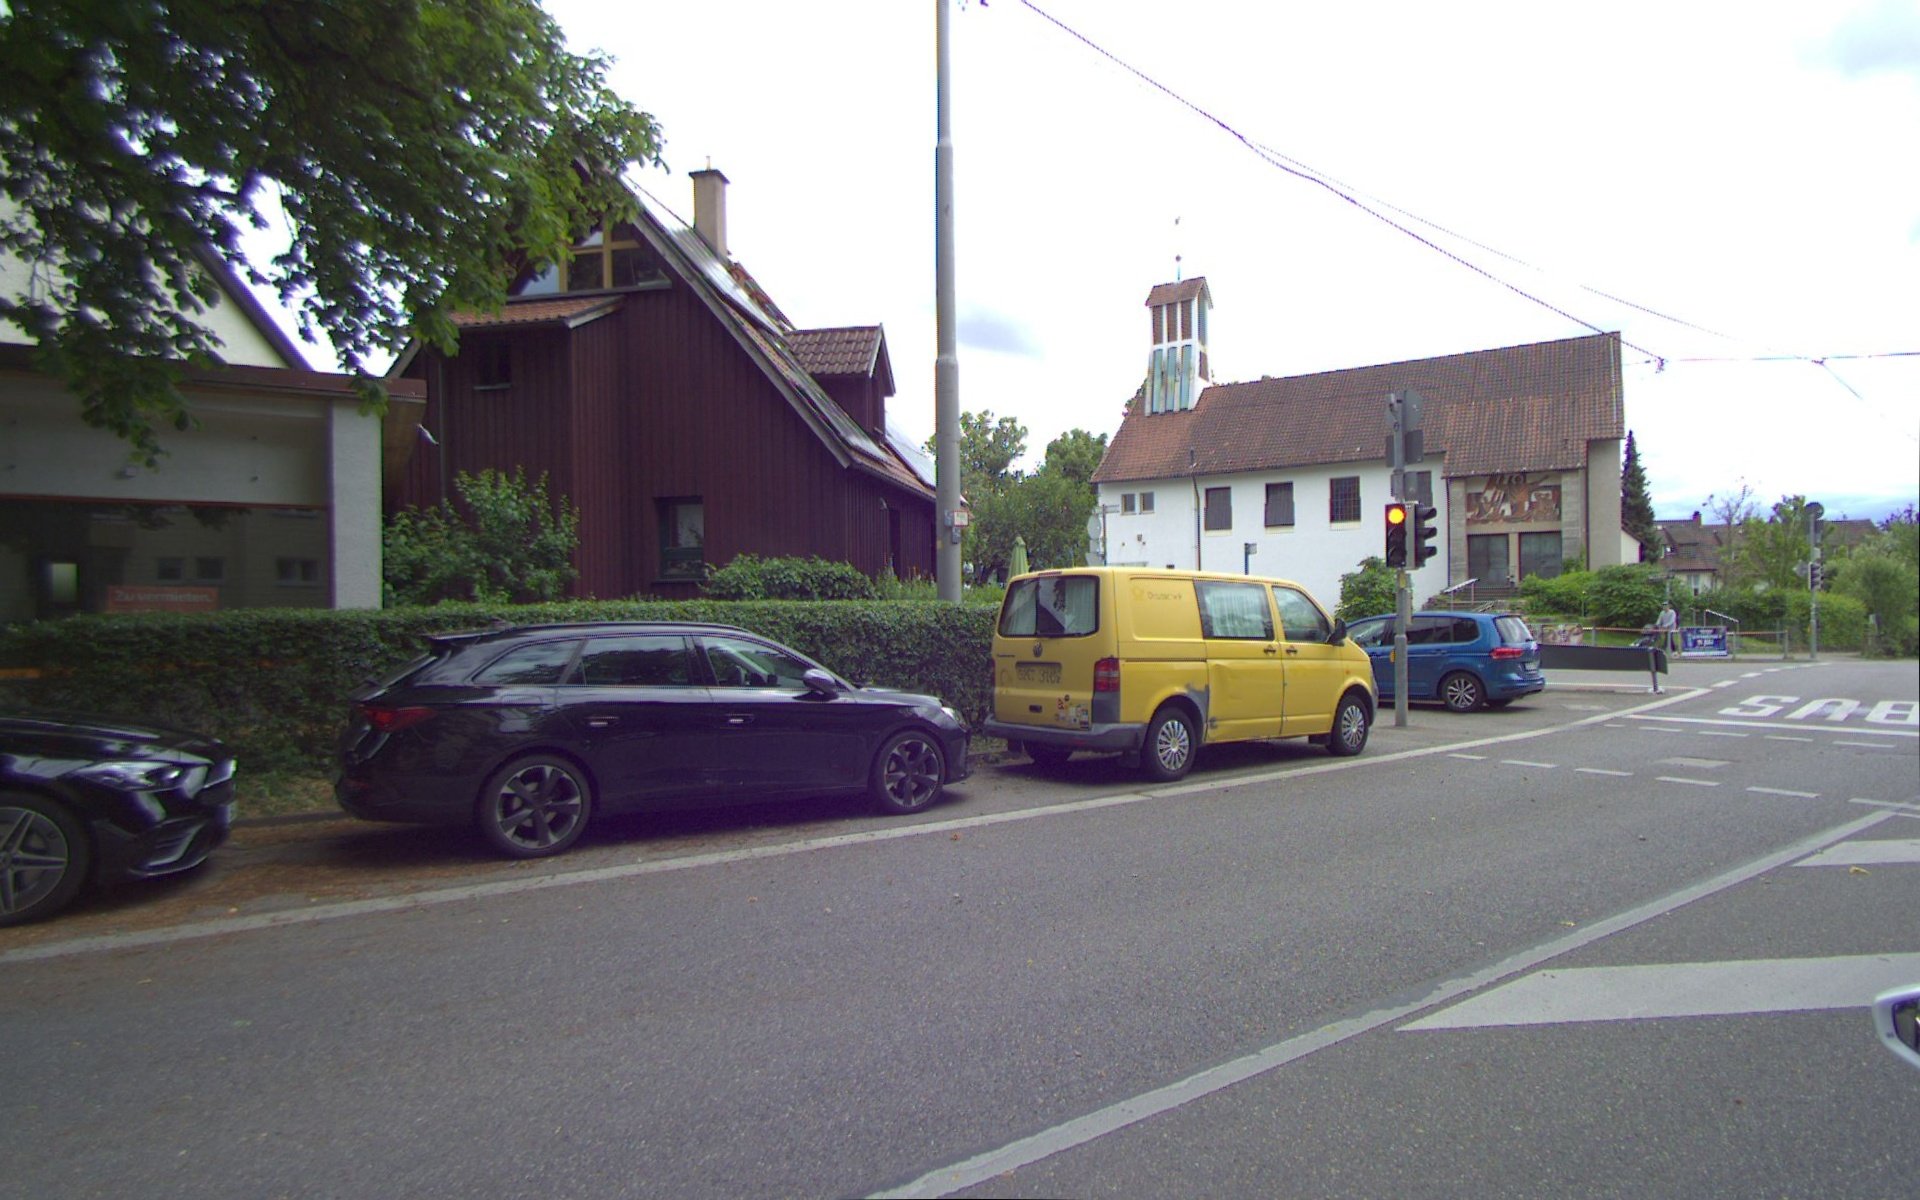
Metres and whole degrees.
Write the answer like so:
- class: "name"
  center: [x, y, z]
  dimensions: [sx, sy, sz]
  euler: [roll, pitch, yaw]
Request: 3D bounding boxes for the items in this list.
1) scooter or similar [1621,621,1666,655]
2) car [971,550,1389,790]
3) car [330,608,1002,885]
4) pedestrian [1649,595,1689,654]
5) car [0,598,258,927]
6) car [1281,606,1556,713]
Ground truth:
- class: "scooter or similar"
  center: [21.956, 1.218, 32.288]
  dimensions: [1.091, 1.095, 0.576]
  euler: [0, -1, -10]
- class: "car"
  center: [2.463, 0.647, 10.678]
  dimensions: [4.523, 2.040, 1.870]
  euler: [1, -2, -37]
- class: "car"
  center: [-1.994, 0.845, 7.434]
  dimensions: [4.494, 1.505, 1.681]
  euler: [1, -2, -34]
- class: "pedestrian"
  center: [22.912, 0.784, 32.472]
  dimensions: [0.870, 1.887, 0.573]
  euler: [0, -1, -9]
- class: "car"
  center: [-6.211, 0.761, 4.749]
  dimensions: [4.561, 1.520, 1.984]
  euler: [1, -2, -31]
- class: "car"
  center: [7.815, 0.992, 17.360]
  dimensions: [1.806, 1.632, 3.948]
  euler: [1, -3, -44]
